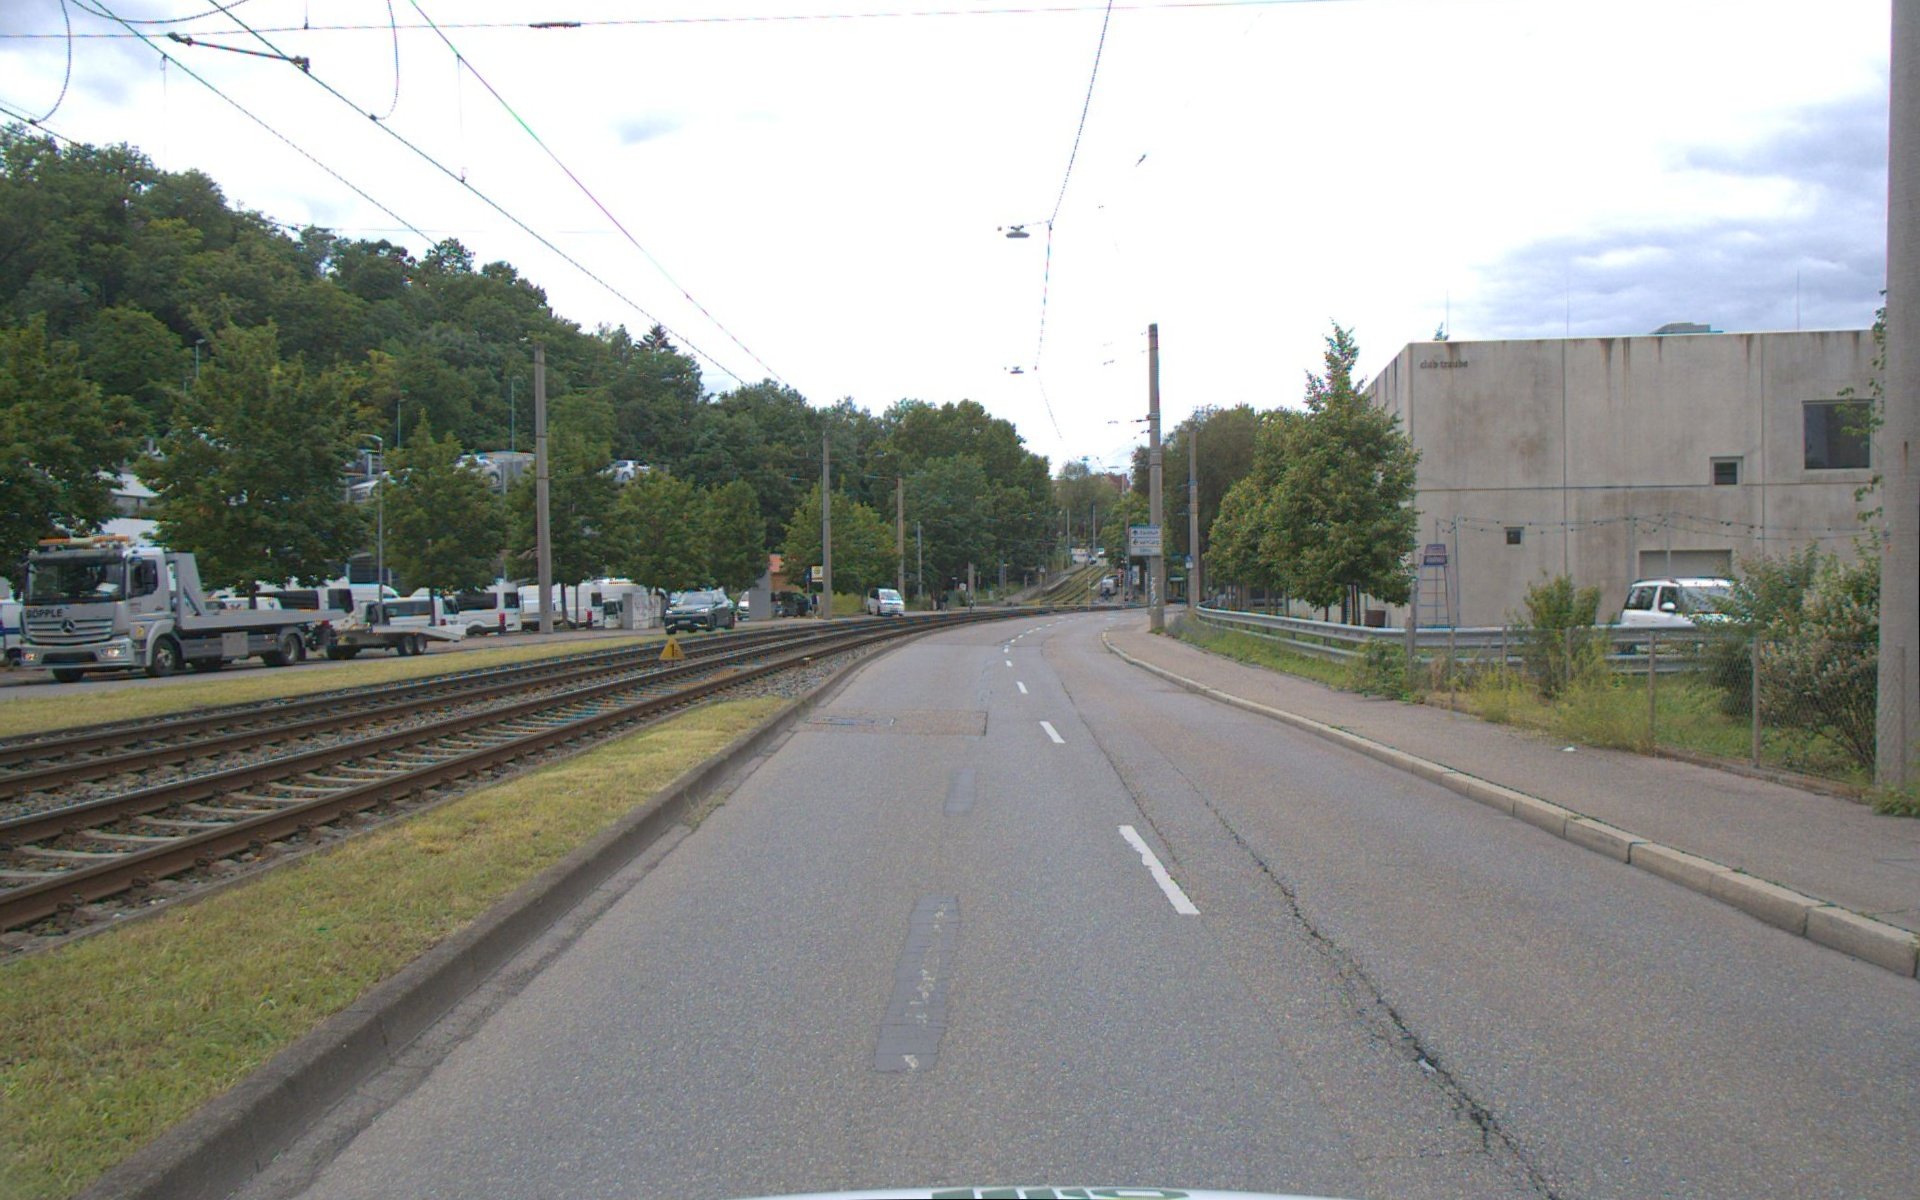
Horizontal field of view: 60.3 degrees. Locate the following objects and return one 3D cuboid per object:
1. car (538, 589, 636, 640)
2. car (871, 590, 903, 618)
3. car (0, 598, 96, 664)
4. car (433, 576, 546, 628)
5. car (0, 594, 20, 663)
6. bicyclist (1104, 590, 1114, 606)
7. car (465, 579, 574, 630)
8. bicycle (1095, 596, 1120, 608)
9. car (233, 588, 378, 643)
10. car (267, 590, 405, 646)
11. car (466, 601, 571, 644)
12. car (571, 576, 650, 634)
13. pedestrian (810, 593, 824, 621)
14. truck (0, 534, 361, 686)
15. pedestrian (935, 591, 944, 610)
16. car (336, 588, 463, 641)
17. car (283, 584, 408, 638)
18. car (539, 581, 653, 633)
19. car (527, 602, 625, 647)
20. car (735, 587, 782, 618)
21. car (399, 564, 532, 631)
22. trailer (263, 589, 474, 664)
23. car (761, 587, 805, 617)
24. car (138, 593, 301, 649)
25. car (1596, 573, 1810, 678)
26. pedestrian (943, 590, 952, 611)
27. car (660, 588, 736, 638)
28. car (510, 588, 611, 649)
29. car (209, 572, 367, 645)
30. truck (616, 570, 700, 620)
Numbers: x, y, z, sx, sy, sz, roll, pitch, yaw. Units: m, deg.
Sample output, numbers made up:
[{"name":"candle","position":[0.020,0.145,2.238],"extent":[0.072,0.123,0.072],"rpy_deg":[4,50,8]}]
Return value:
[{"name":"car","position":[-18.962,0.725,84.253],"extent":[4.275,2.141,2.005],"rpy_deg":[6,1,6]},{"name":"car","position":[-5.469,0.272,123.427],"extent":[2.117,1.921,5.066],"rpy_deg":[2,0,-6]},{"name":"car","position":[-24.556,0.778,42.337],"extent":[3.901,1.646,2.002],"rpy_deg":[0,0,11]},{"name":"car","position":[-20.372,0.093,71.681],"extent":[4.273,2.211,2.005],"rpy_deg":[0,0,6]},{"name":"car","position":[-24.919,0.697,39.530],"extent":[3.901,1.646,2.002],"rpy_deg":[0,0,11]},{"name":"bicyclist","position":[18.479,-0.226,204.641],"extent":[1.028,1.881,0.822],"rpy_deg":[-1,0,-8]},{"name":"car","position":[-19.715,0.189,74.151],"extent":[4.273,2.211,2.005],"rpy_deg":[0,0,6]},{"name":"bicycle","position":[18.205,0.231,204.601],"extent":[2.930,1.367,0.825],"rpy_deg":[-1,0,-8]},{"name":"car","position":[-22.780,0.530,57.619],"extent":[4.272,1.877,2.006],"rpy_deg":[0,0,10]},{"name":"car","position":[-22.591,0.630,59.947],"extent":[4.272,1.981,2.006],"rpy_deg":[0,0,10]},{"name":"car","position":[-20.531,1.041,77.027],"extent":[4.273,1.944,2.005],"rpy_deg":[0,0,6]},{"name":"car","position":[-19.444,0.255,92.325],"extent":[2.062,3.072,5.942],"rpy_deg":[-1,0,11]},{"name":"pedestrian","position":[-9.036,0.448,104.555],"extent":[0.703,1.684,1.043],"rpy_deg":[2,1,2]},{"name":"truck","position":[-16.556,0.176,35.995],"extent":[2.697,2.789,9.226],"rpy_deg":[-2,0,7]},{"name":"pedestrian","position":[-1.839,0.035,148.372],"extent":[0.614,1.743,0.856],"rpy_deg":[1,0,12]},{"name":"car","position":[-22.017,0.549,65.049],"extent":[4.273,2.045,2.005],"rpy_deg":[0,0,6]},{"name":"car","position":[-30.908,0.530,83.392],"extent":[5.846,2.647,1.992],"rpy_deg":[0,0,-20]},{"name":"car","position":[-19.123,0.352,87.016],"extent":[5.355,2.647,2.249],"rpy_deg":[0,0,9]},{"name":"car","position":[-18.910,1.207,81.514],"extent":[4.273,2.142,2.005],"rpy_deg":[0,0,6]},{"name":"car","position":[-13.741,0.176,113.016],"extent":[1.951,2.049,4.923],"rpy_deg":[-1,0,8]},{"name":"car","position":[-20.630,-0.096,69.096],"extent":[4.860,2.746,2.116],"rpy_deg":[0,0,6]},{"name":"trailer","position":[-15.518,0.647,43.976],"extent":[2.332,1.728,6.953],"rpy_deg":[-2,0,7]},{"name":"car","position":[-12.720,0.136,118.993],"extent":[1.951,2.049,5.134],"rpy_deg":[-1,0,8]},{"name":"car","position":[-23.408,0.646,52.366],"extent":[4.273,1.718,2.033],"rpy_deg":[0,0,6]},{"name":"car","position":[12.530,0.364,28.219],"extent":[1.713,1.601,4.431],"rpy_deg":[1,1,1]},{"name":"pedestrian","position":[-1.120,0.053,148.348],"extent":[0.662,1.844,0.856],"rpy_deg":[1,0,12]},{"name":"car","position":[-10.102,0.520,64.070],"extent":[1.952,1.770,4.536],"rpy_deg":[-2,-1,3]},{"name":"car","position":[-19.118,0.855,79.294],"extent":[4.273,2.868,2.005],"rpy_deg":[0,0,6]},{"name":"car","position":[-22.328,0.290,55.023],"extent":[4.400,2.352,2.127],"rpy_deg":[0,0,10]},{"name":"truck","position":[-19.588,-0.318,107.215],"extent":[5.826,3.139,2.109],"rpy_deg":[0,0,39]}]
